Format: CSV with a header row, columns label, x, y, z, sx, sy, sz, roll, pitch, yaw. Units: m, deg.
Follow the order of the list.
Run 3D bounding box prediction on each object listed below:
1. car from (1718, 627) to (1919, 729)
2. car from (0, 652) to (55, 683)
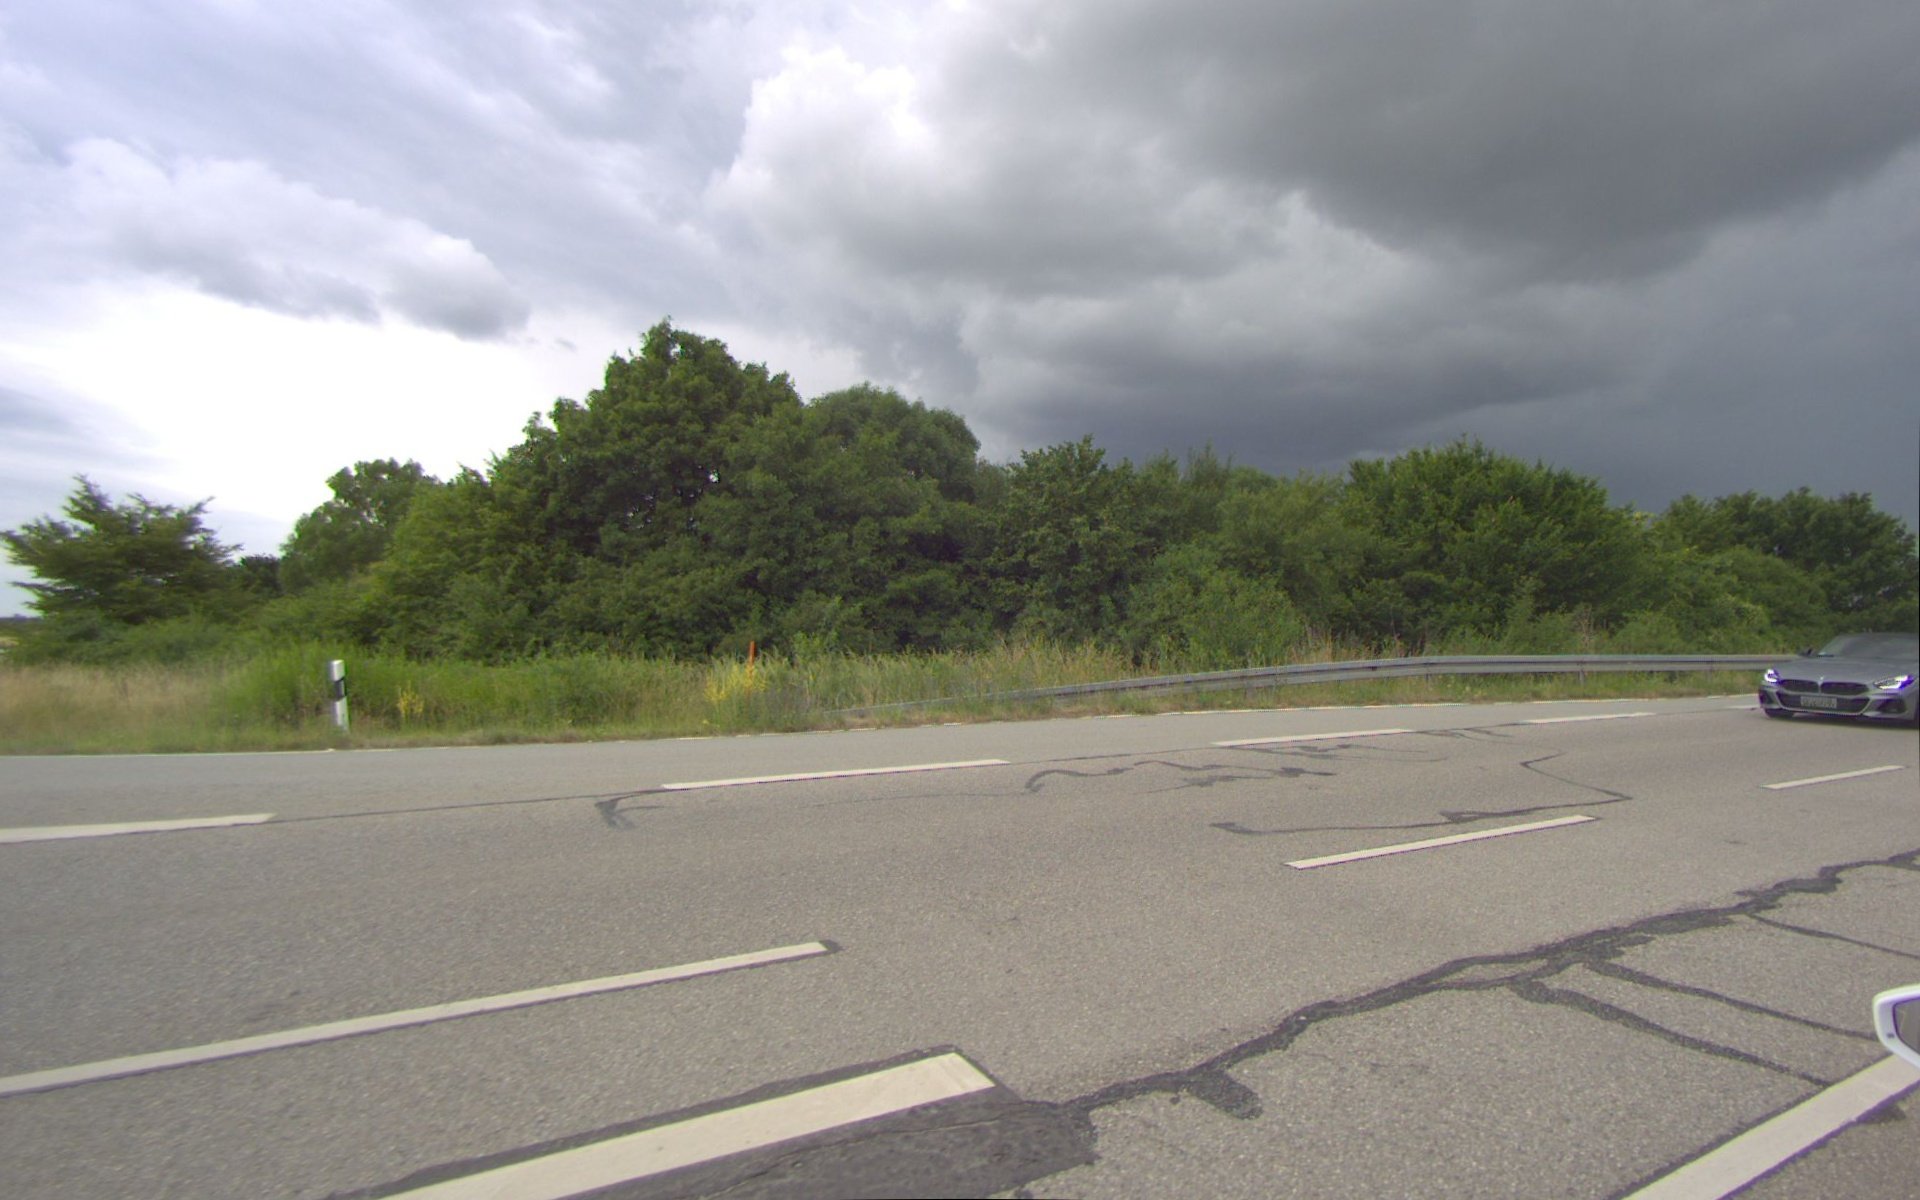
label,x,y,z,sx,sy,sz,roll,pitch,yaw
car,13.800,1.096,15.329,4.188,1.302,2.154,1,-1,-31
car,-51.862,3.651,54.668,1.878,1.502,4.495,1,-2,-13
